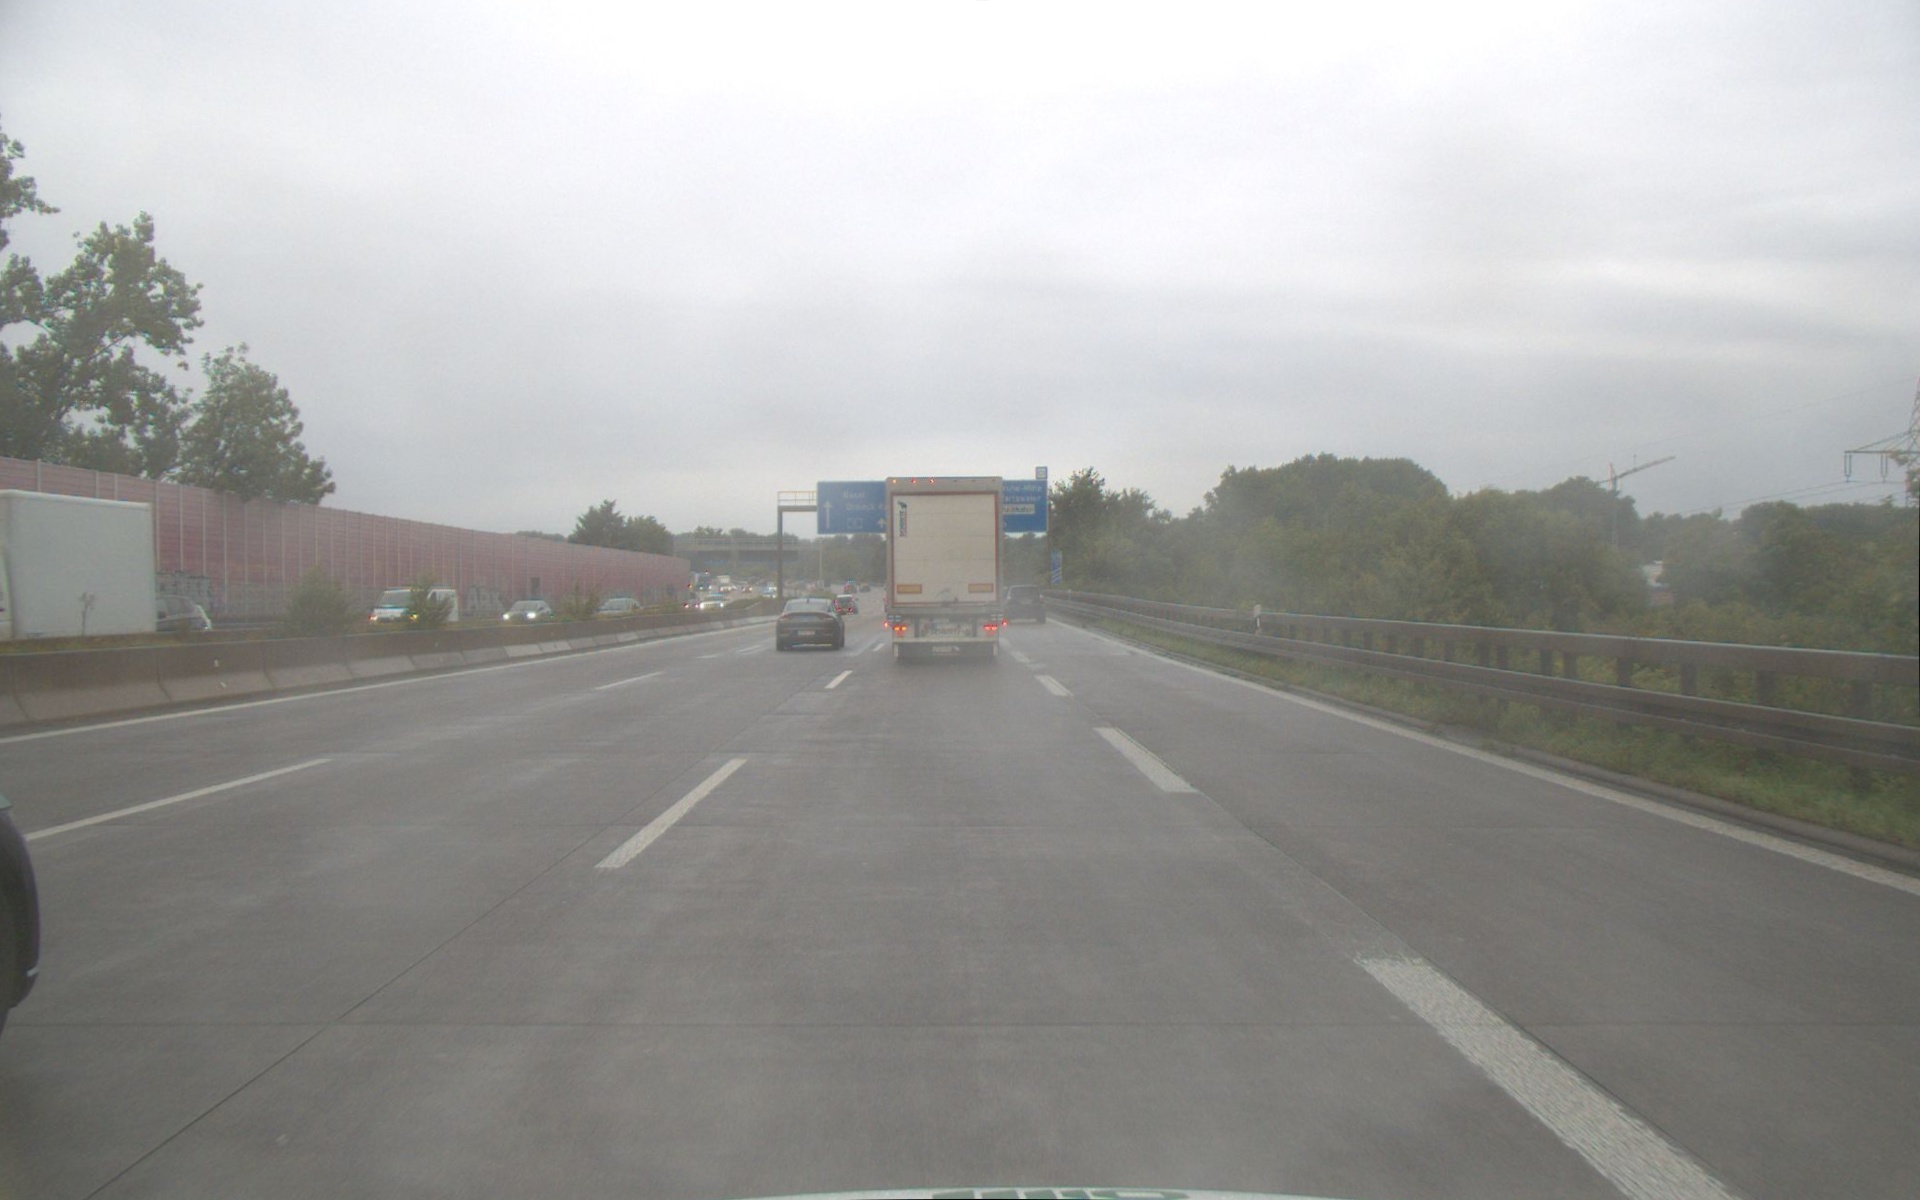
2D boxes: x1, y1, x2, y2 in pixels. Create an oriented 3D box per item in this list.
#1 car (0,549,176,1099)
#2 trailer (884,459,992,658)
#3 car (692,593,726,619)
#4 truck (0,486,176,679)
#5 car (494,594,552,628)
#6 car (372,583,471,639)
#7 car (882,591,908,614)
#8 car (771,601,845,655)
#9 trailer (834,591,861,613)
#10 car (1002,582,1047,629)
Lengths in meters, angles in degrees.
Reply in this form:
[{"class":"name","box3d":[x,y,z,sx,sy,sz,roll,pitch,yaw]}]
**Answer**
[{"class":"car","box3d":[-3.706,0.646,3.340,1.801,1.622,5.155,1,0,-1]},{"class":"trailer","box3d":[-0.483,-1.026,42.749,2.294,4.229,14.827,0,1,0]},{"class":"car","box3d":[-21.220,0.482,139.983,1.953,2.049,5.805,2,0,-1]},{"class":"truck","box3d":[-15.469,-0.295,26.669,2.220,2.878,7.278,2,0,-1]},{"class":"car","box3d":[-23.503,0.569,89.138,1.953,1.677,4.538,-1,0,-1]},{"class":"car","box3d":[-19.052,0.375,58.769,1.954,1.892,5.538,0,0,-3]},{"class":"car","box3d":[-5.151,0.220,131.516,1.855,1.753,4.000,2,0,0]},{"class":"car","box3d":[-4.303,0.771,47.406,1.690,1.427,4.828,1,0,0]},{"class":"trailer","box3d":[-8.959,0.165,131.870,1.778,1.653,4.568,1,0,0]},{"class":"car","box3d":[2.841,0.235,73.594,1.858,1.983,4.001,2,0,1]}]
